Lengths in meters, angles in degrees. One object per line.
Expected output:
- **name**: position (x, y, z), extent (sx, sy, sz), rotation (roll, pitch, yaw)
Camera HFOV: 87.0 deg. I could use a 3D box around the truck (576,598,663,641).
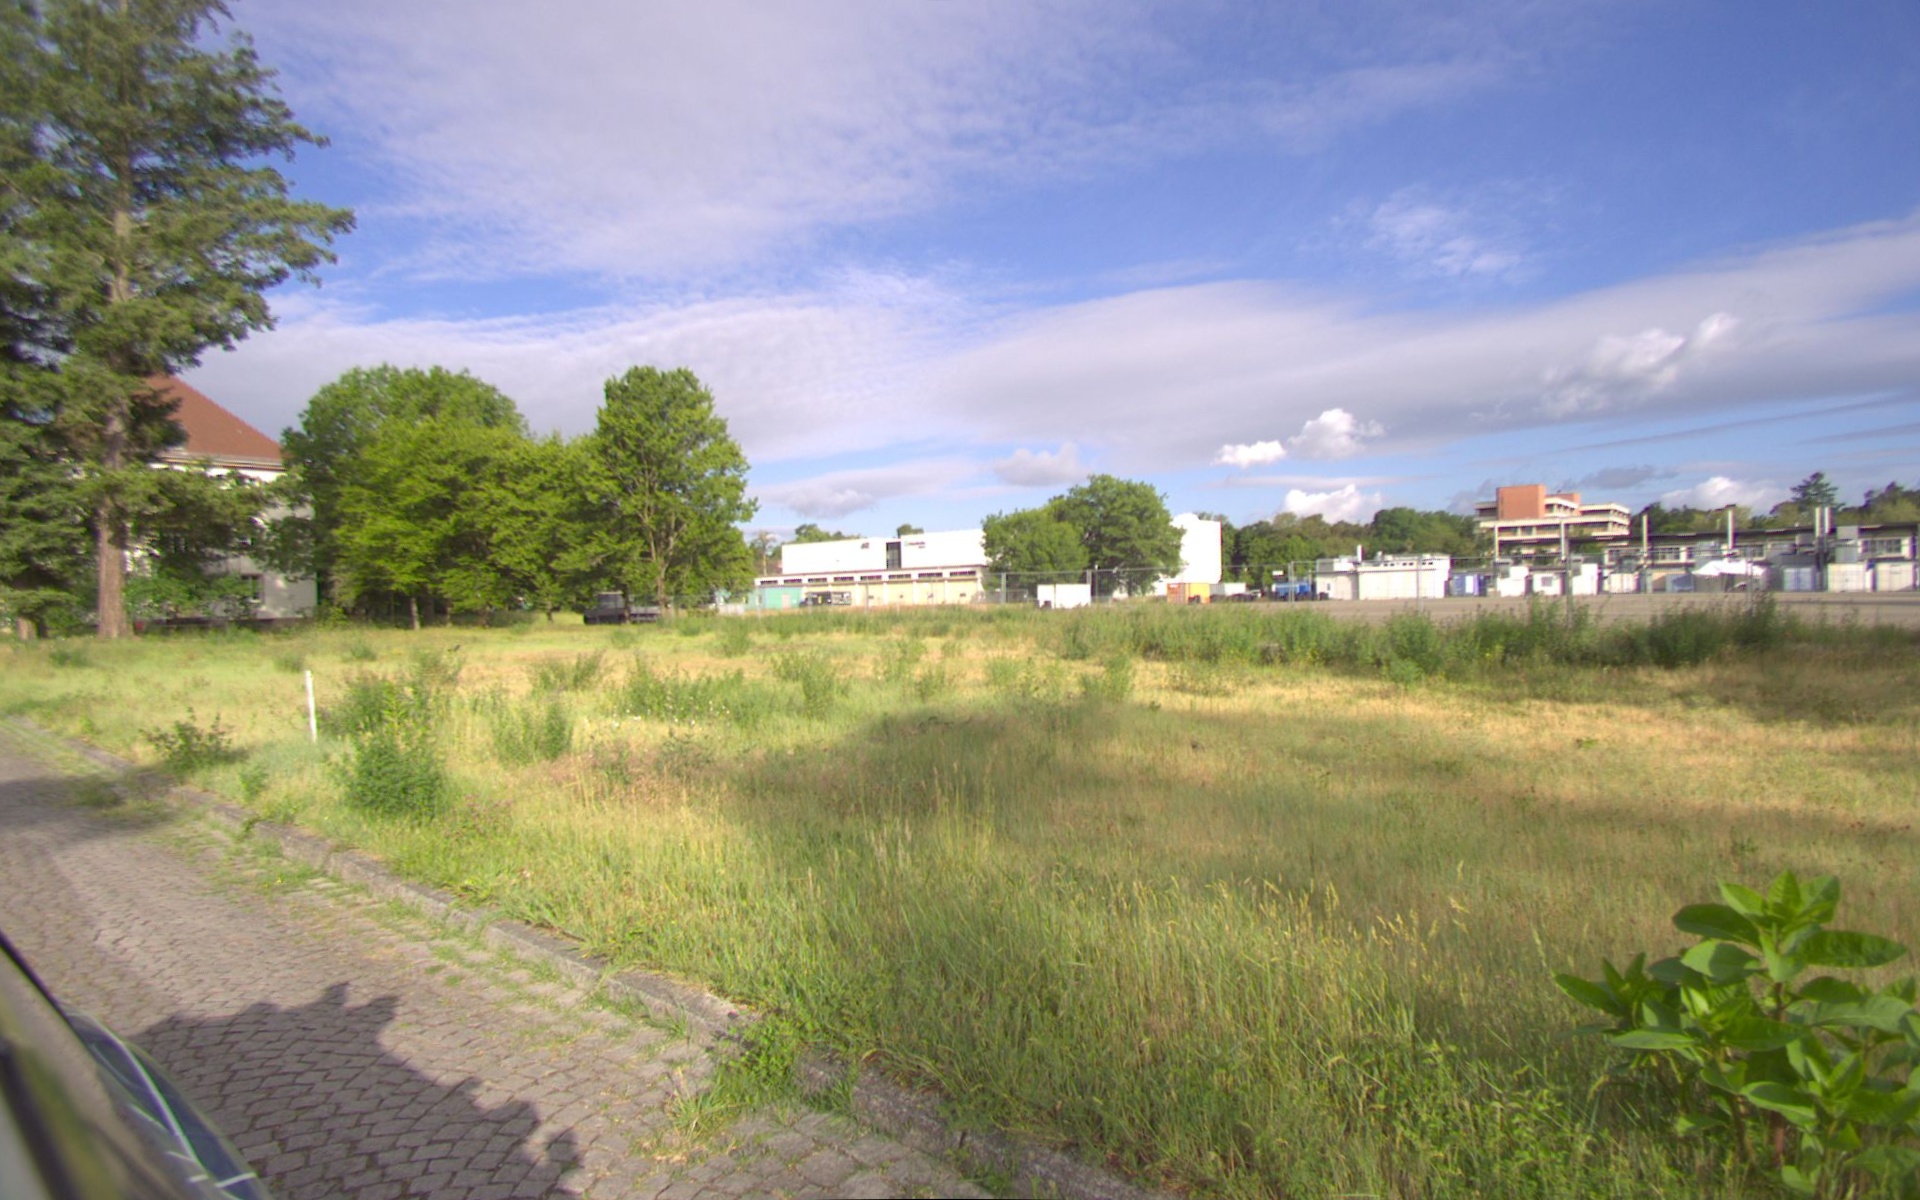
- **truck**: position (-22.422, 1.295, 66.395), extent (6.958, 2.606, 2.385), rotation (-2, -1, 43)
